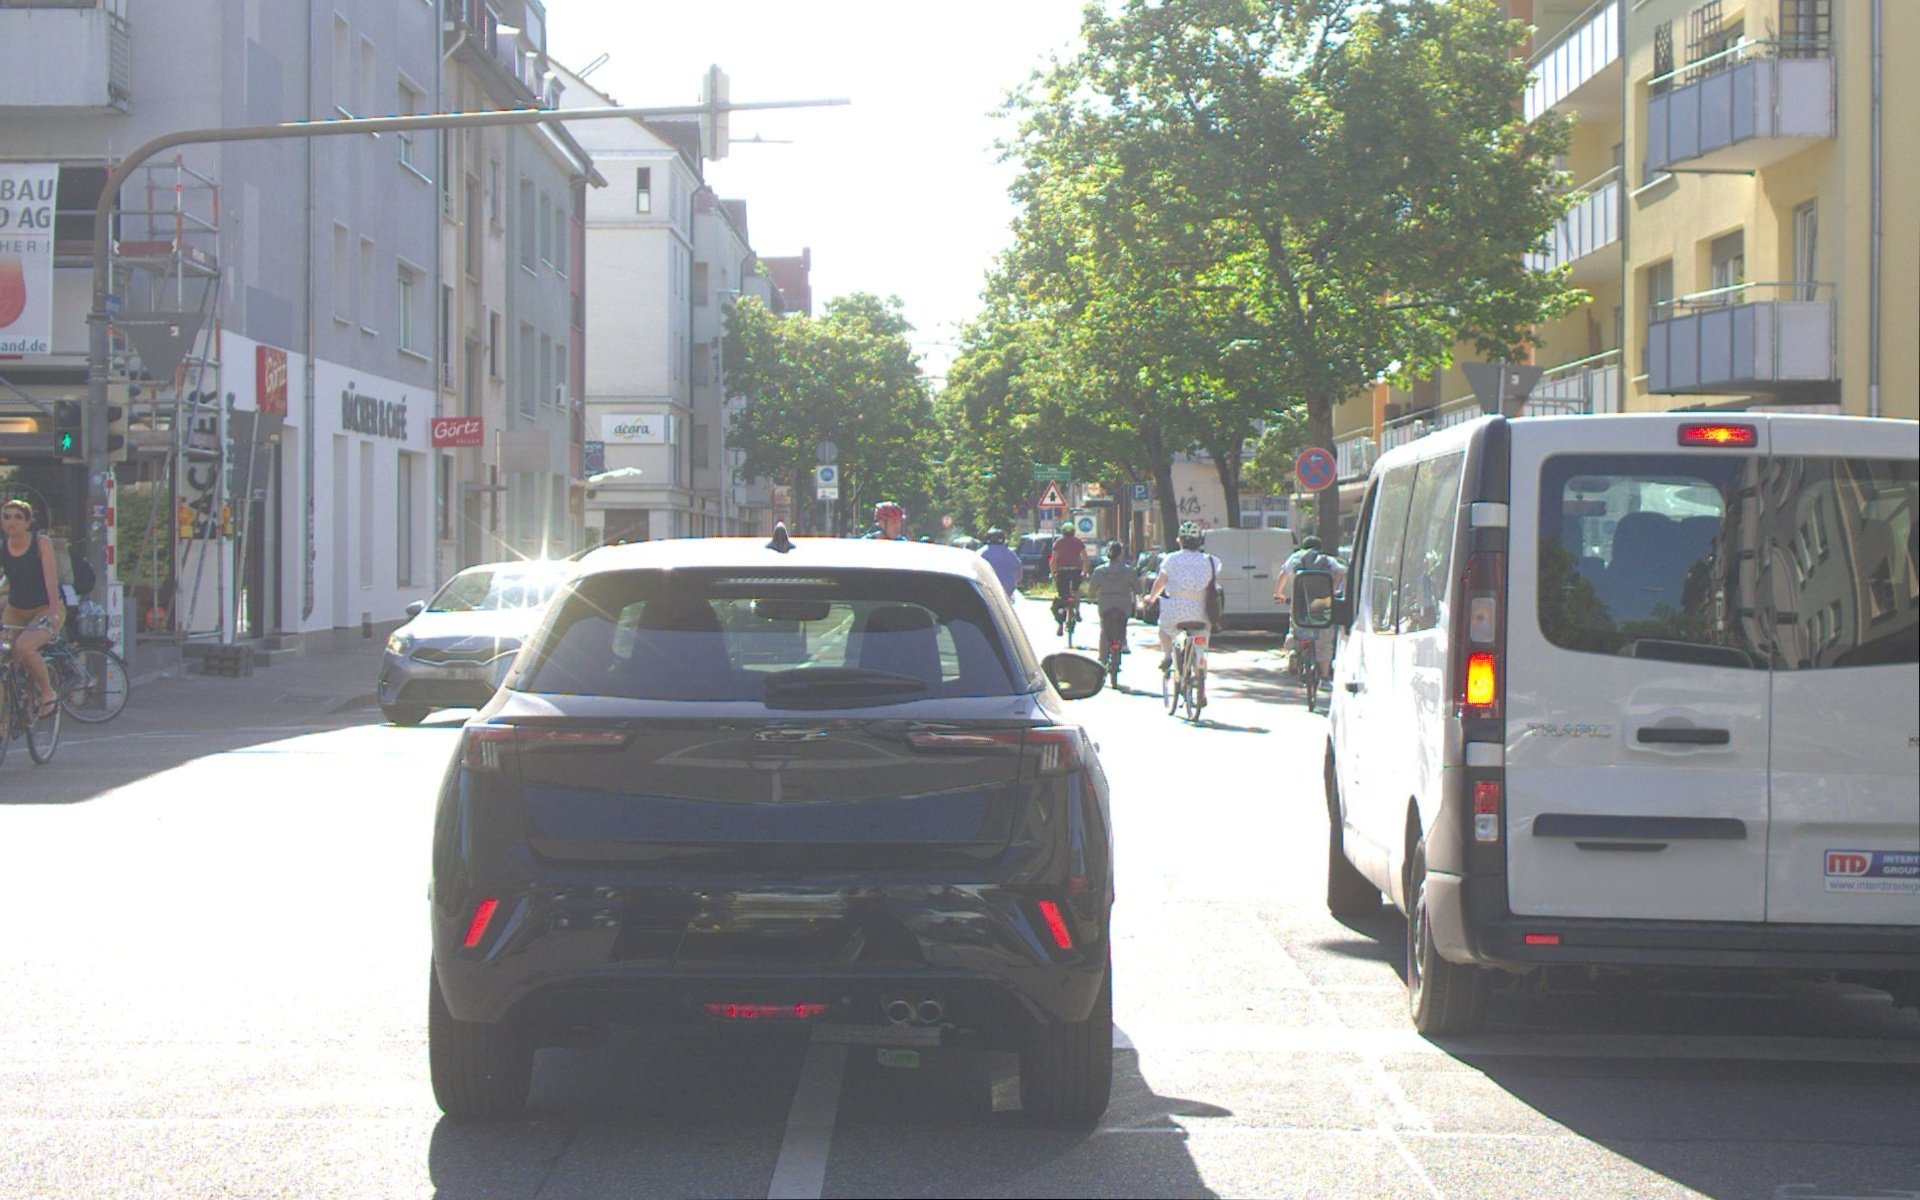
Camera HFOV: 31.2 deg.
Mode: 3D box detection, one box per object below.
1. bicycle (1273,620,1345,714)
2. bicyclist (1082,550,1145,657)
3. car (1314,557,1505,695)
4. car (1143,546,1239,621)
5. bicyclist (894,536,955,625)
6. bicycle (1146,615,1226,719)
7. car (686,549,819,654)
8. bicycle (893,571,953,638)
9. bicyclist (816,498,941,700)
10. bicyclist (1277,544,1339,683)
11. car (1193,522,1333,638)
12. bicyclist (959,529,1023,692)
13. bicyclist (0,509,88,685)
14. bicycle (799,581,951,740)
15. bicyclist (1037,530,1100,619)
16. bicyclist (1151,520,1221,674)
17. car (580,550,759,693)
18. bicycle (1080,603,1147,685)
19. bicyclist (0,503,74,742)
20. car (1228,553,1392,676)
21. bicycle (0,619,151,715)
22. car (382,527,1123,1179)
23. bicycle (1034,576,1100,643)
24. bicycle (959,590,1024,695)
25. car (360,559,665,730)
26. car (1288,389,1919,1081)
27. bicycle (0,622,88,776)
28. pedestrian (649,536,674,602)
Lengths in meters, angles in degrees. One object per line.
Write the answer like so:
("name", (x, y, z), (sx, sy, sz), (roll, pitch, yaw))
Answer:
("bicycle", (3.493, 0.660, 34.494), (0.547, 0.863, 1.876), (0, 1, 1))
("bicyclist", (1.726, 0.034, 38.738), (0.692, 1.189, 0.595), (0, 1, 1))
("car", (5.091, 0.262, 39.332), (1.712, 1.478, 3.480), (0, 1, 0))
("car", (4.704, -0.348, 70.339), (1.712, 1.478, 3.381), (0, 1, 0))
("bicyclist", (-0.542, -0.304, 52.172), (0.856, 1.310, 1.210), (2, 1, -1))
("bicycle", (2.043, 0.595, 31.258), (0.620, 0.863, 1.876), (0, 1, 1))
("car", (-3.001, -0.007, 49.916), (1.804, 1.408, 4.426), (-1, 1, -3))
("bicycle", (-0.568, 0.060, 52.238), (0.856, 0.941, 2.308), (2, 1, -1))
("bicyclist", (-0.689, -0.018, 28.602), (0.801, 1.644, 1.125), (0, 1, -14))
("bicyclist", (3.512, 0.128, 34.730), (0.547, 1.378, 0.823), (0, 1, 1))
("car", (4.987, -0.360, 57.108), (2.046, 1.840, 4.584), (0, 1, 2))
("bicyclist", (0.320, 0.097, 35.661), (0.632, 1.663, 1.050), (0, 1, -1))
("bicyclist", (-8.221, -0.026, 30.519), (0.812, 1.543, 0.555), (1, 1, -26))
("bicycle", (-0.732, 0.483, 28.730), (0.801, 1.251, 2.139), (0, 1, -14))
("bicyclist", (1.659, -0.401, 52.647), (0.856, 1.310, 1.210), (2, 1, -1))
("bicyclist", (2.048, -0.030, 31.222), (0.588, 1.378, 0.823), (0, 1, 1))
("car", (-3.318, 0.225, 39.875), (1.592, 1.560, 4.089), (-1, 0, 2))
("bicycle", (1.719, 0.489, 38.745), (0.691, 0.863, 1.876), (0, 1, 1))
("bicyclist", (-6.090, 0.137, 22.187), (0.542, 1.515, 0.774), (0, 1, -1))
("car", (4.385, 0.155, 43.457), (1.712, 1.478, 3.381), (0, 1, 0))
("bicycle", (-8.308, 0.590, 30.487), (2.124, 0.831, 0.555), (1, 1, -26))
("car", (-0.522, 0.584, 10.226), (1.762, 1.553, 4.000), (0, 1, -1))
("bicycle", (1.626, 0.138, 52.611), (0.856, 0.941, 2.308), (2, 1, -1))
("bicycle", (0.319, 0.428, 35.903), (0.632, 1.037, 1.795), (0, 1, -1))
("car", (-4.000, 0.349, 31.413), (1.837, 1.429, 4.176), (0, 1, 6))
("car", (2.393, 0.366, 12.326), (1.968, 1.933, 5.056), (2, 1, 1))
("bicycle", (-6.091, 0.617, 22.074), (0.542, 0.899, 1.826), (0, 1, -1))
("pedestrian", (-7.184, -0.753, 82.741), (0.577, 1.577, 0.708), (0, 1, -6))
